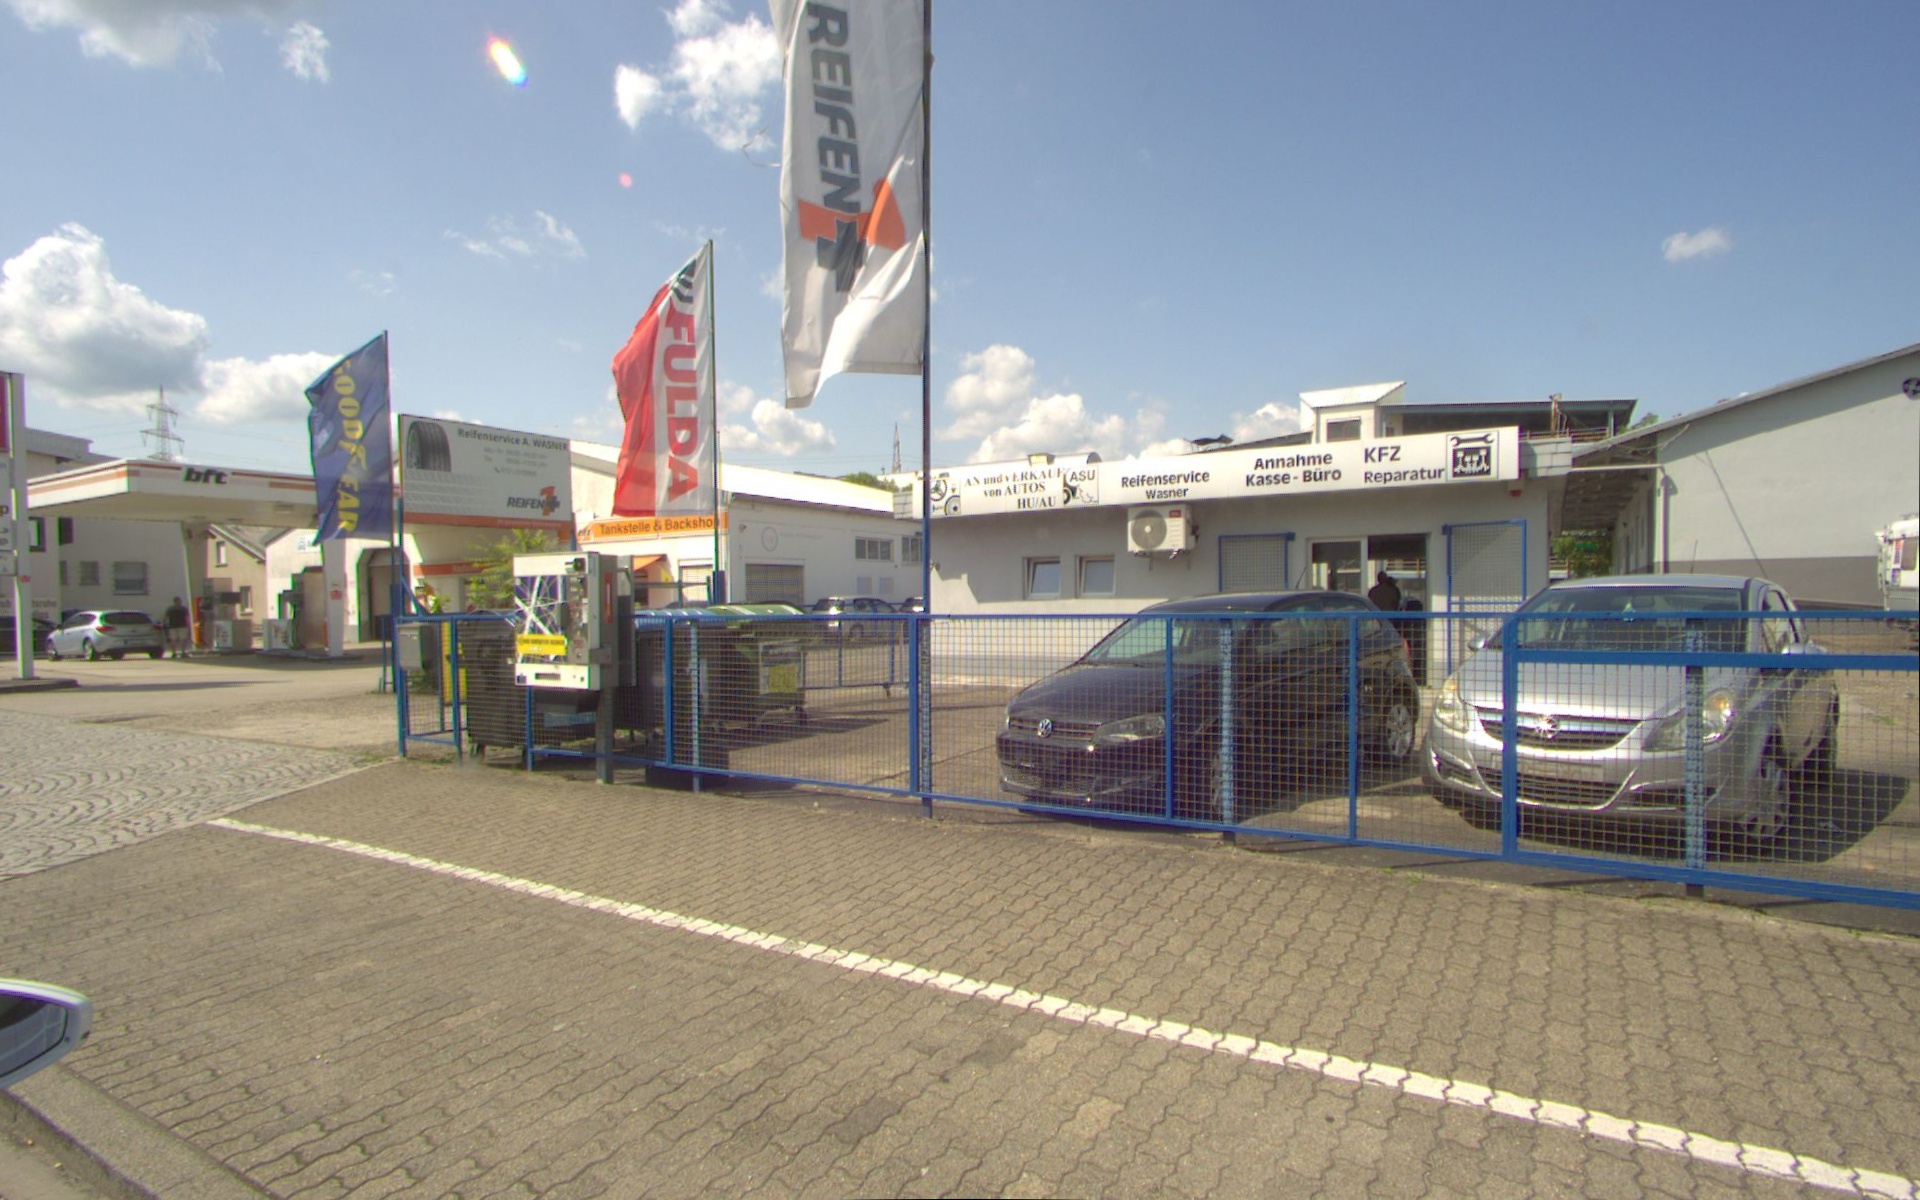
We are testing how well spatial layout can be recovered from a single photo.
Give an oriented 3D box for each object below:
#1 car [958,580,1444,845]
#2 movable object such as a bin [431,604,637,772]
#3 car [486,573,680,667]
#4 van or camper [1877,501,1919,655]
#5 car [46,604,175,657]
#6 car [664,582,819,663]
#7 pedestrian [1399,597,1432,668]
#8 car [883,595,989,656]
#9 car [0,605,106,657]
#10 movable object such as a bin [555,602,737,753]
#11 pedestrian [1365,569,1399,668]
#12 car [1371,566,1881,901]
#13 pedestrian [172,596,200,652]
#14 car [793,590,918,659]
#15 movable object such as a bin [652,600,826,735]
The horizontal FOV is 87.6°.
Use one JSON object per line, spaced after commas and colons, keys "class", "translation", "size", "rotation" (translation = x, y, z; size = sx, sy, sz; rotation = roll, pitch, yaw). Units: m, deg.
{"class": "car", "translation": [2.017, 0.626, 7.649], "size": [3.962, 1.499, 1.705], "rotation": [-1, 1, -43]}
{"class": "movable object such as a bin", "translation": [-4.130, 0.783, 9.746], "size": [1.434, 1.473, 1.224], "rotation": [0, 1, 31]}
{"class": "car", "translation": [-8.911, 0.434, 23.983], "size": [1.971, 2.040, 3.979], "rotation": [0, 0, 32]}
{"class": "van or camper", "translation": [21.349, -0.461, 19.322], "size": [4.983, 3.002, 2.276], "rotation": [0, 1, 31]}
{"class": "car", "translation": [-25.832, 0.888, 30.435], "size": [3.950, 1.499, 1.829], "rotation": [-1, 1, 31]}
{"class": "car", "translation": [-5.945, 0.569, 27.637], "size": [1.971, 2.040, 3.979], "rotation": [0, 0, 32]}
{"class": "pedestrian", "translation": [7.981, 0.560, 17.526], "size": [0.480, 1.229, 0.499], "rotation": [0, 1, 30]}
{"class": "car", "translation": [-0.802, 0.860, 35.878], "size": [1.971, 2.040, 3.979], "rotation": [0, 0, 32]}
{"class": "car", "translation": [-31.327, 1.014, 33.342], "size": [1.663, 1.646, 4.093], "rotation": [0, 0, 34]}
{"class": "movable object such as a bin", "translation": [-3.369, 0.774, 10.786], "size": [1.434, 1.473, 1.224], "rotation": [0, 1, 31]}
{"class": "pedestrian", "translation": [7.395, 0.322, 17.547], "size": [0.480, 1.710, 0.499], "rotation": [0, 1, 30]}
{"class": "car", "translation": [4.504, 0.586, 6.512], "size": [4.104, 1.499, 1.787], "rotation": [-1, 0, -42]}
{"class": "pedestrian", "translation": [-23.737, 0.728, 30.716], "size": [0.628, 1.705, 0.618], "rotation": [-1, 1, -36]}
{"class": "car", "translation": [-3.262, 0.725, 31.988], "size": [1.971, 2.040, 3.979], "rotation": [0, 0, 32]}
{"class": "movable object such as a bin", "translation": [-2.603, 0.742, 11.900], "size": [1.433, 1.473, 1.427], "rotation": [0, 1, 31]}
